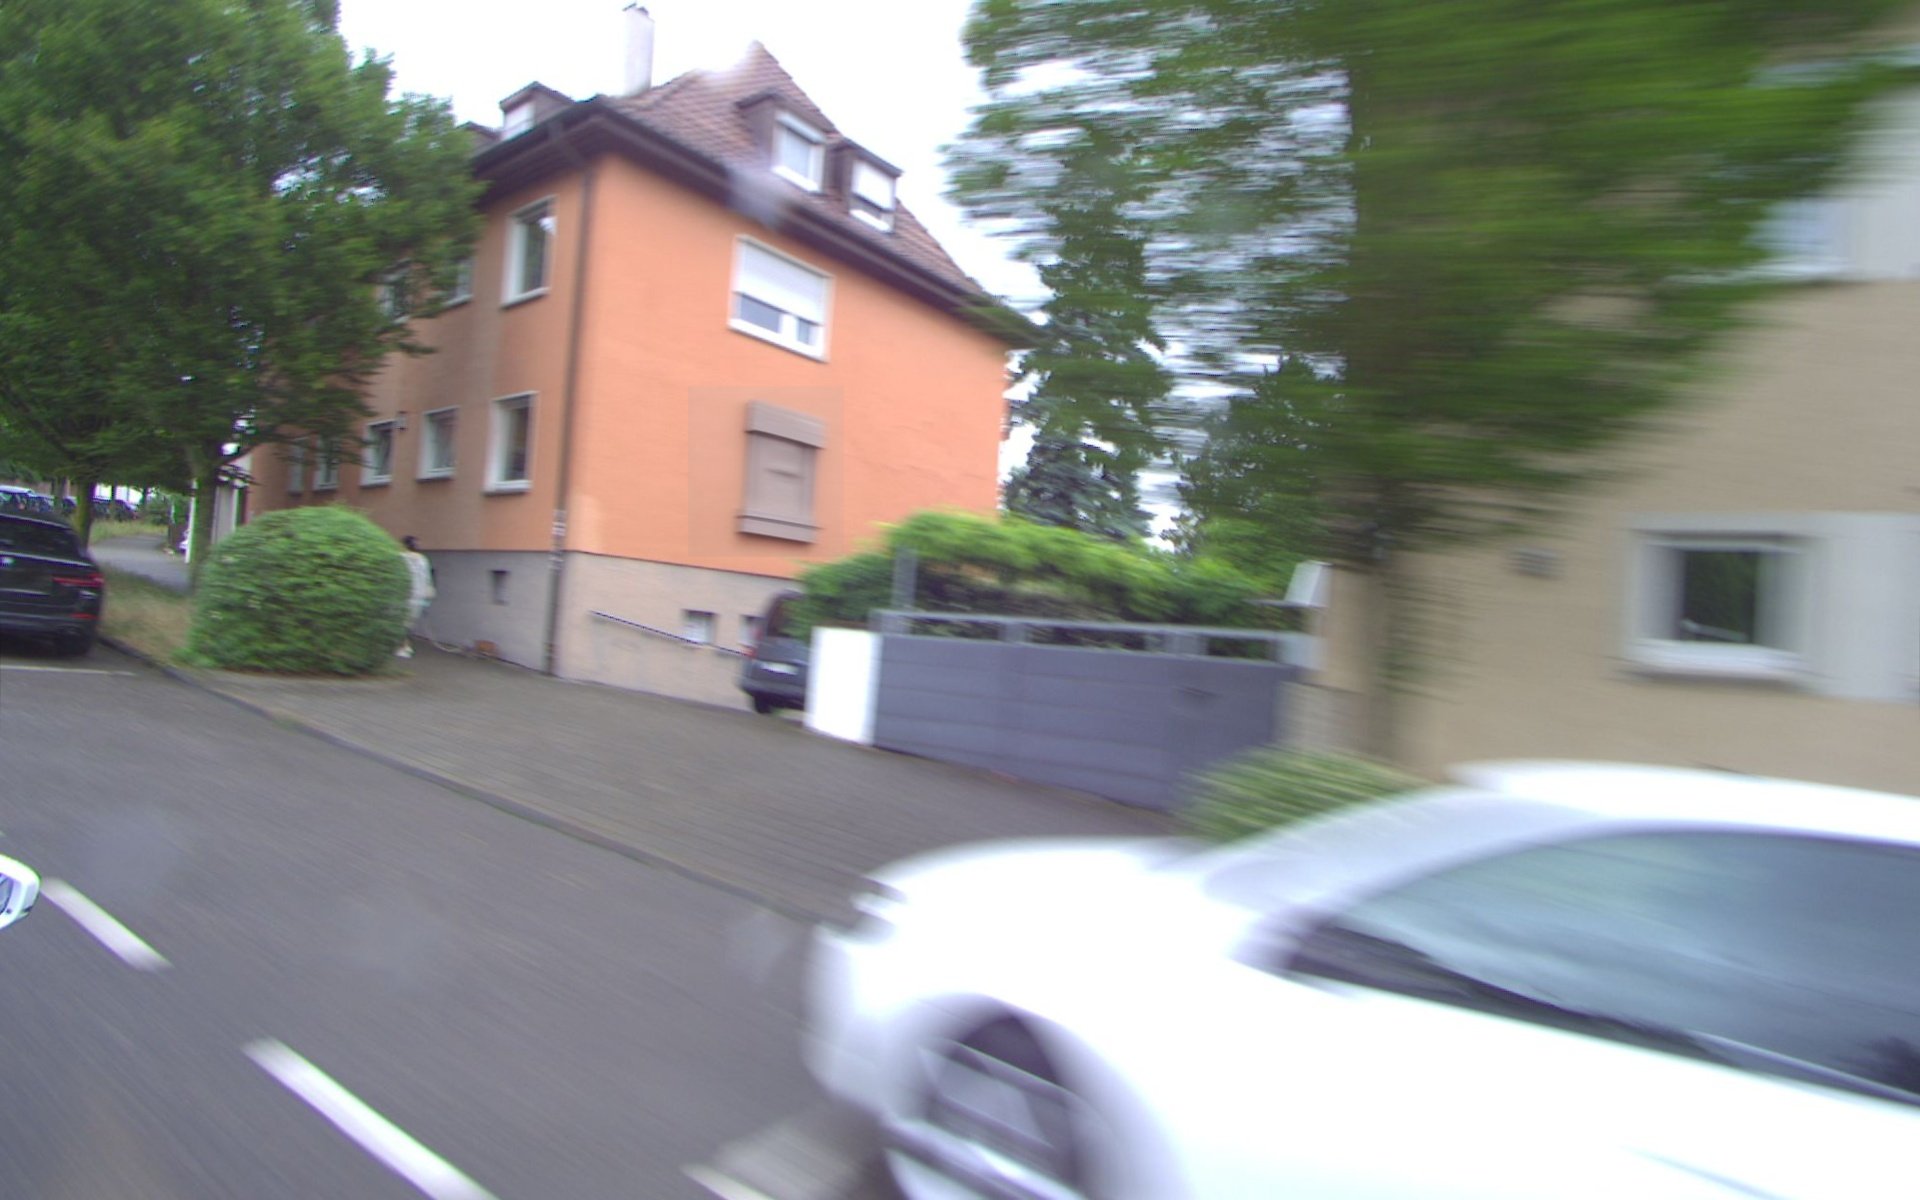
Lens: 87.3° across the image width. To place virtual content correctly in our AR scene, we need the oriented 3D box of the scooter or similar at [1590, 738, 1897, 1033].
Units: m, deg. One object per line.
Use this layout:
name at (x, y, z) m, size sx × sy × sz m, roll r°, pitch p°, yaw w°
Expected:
scooter or similar at (4.208, 1.491, 5.501) m, size 1.155 × 1.260 × 0.413 m, roll 7°, pitch 0°, yaw 32°

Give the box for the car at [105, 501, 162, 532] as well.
car at (-50.932, -5.113, 62.054) m, size 1.635 × 1.499 × 3.994 m, roll 9°, pitch -1°, yaw -26°

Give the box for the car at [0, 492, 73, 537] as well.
car at (-39.711, -3.657, 43.326) m, size 1.646 × 1.537 × 3.962 m, roll 9°, pitch -2°, yaw -35°

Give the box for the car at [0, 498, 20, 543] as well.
car at (-33.926, -2.894, 34.711) m, size 1.662 × 1.487 × 3.672 m, roll 10°, pitch -2°, yaw -37°

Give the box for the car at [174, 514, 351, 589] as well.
car at (-21.607, -1.455, 31.276) m, size 4.287 × 1.480 × 1.916 m, roll 12°, pitch -5°, yaw -38°

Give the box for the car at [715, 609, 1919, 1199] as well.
car at (1.495, 1.082, 2.476) m, size 3.934 × 1.506 × 1.660 m, roll 7°, pitch -2°, yaw 32°

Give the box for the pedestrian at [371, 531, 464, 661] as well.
pedestrian at (-7.810, -0.052, 14.489) m, size 0.888 × 1.743 × 0.759 m, roll 8°, pitch 3°, yaw 37°

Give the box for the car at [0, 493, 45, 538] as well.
car at (-37.685, -3.384, 39.843) m, size 1.619 × 1.581 × 2.993 m, roll 9°, pitch -1°, yaw -36°

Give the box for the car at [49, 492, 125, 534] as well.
car at (-41.492, -4.102, 47.902) m, size 1.765 × 1.570 × 4.689 m, roll 10°, pitch -2°, yaw -31°

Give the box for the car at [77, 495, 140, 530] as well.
car at (-48.307, -4.917, 57.165) m, size 1.701 × 1.573 × 4.134 m, roll 10°, pitch -1°, yaw -28°

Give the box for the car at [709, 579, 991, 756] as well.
car at (-1.520, 1.110, 15.364) m, size 1.873 × 1.821 × 4.005 m, roll 5°, pitch -10°, yaw 36°

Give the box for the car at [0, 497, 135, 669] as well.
car at (-11.127, -0.393, 11.167) m, size 4.783 × 1.599 × 1.855 m, roll 7°, pitch -1°, yaw 37°

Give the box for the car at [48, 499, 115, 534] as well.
car at (-45.871, -4.349, 52.614) m, size 1.632 × 1.440 × 4.254 m, roll 10°, pitch -2°, yaw -30°

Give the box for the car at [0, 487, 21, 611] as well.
car at (-15.530, -1.007, 14.911) m, size 5.168 × 1.675 × 2.050 m, roll 7°, pitch -1°, yaw 45°
